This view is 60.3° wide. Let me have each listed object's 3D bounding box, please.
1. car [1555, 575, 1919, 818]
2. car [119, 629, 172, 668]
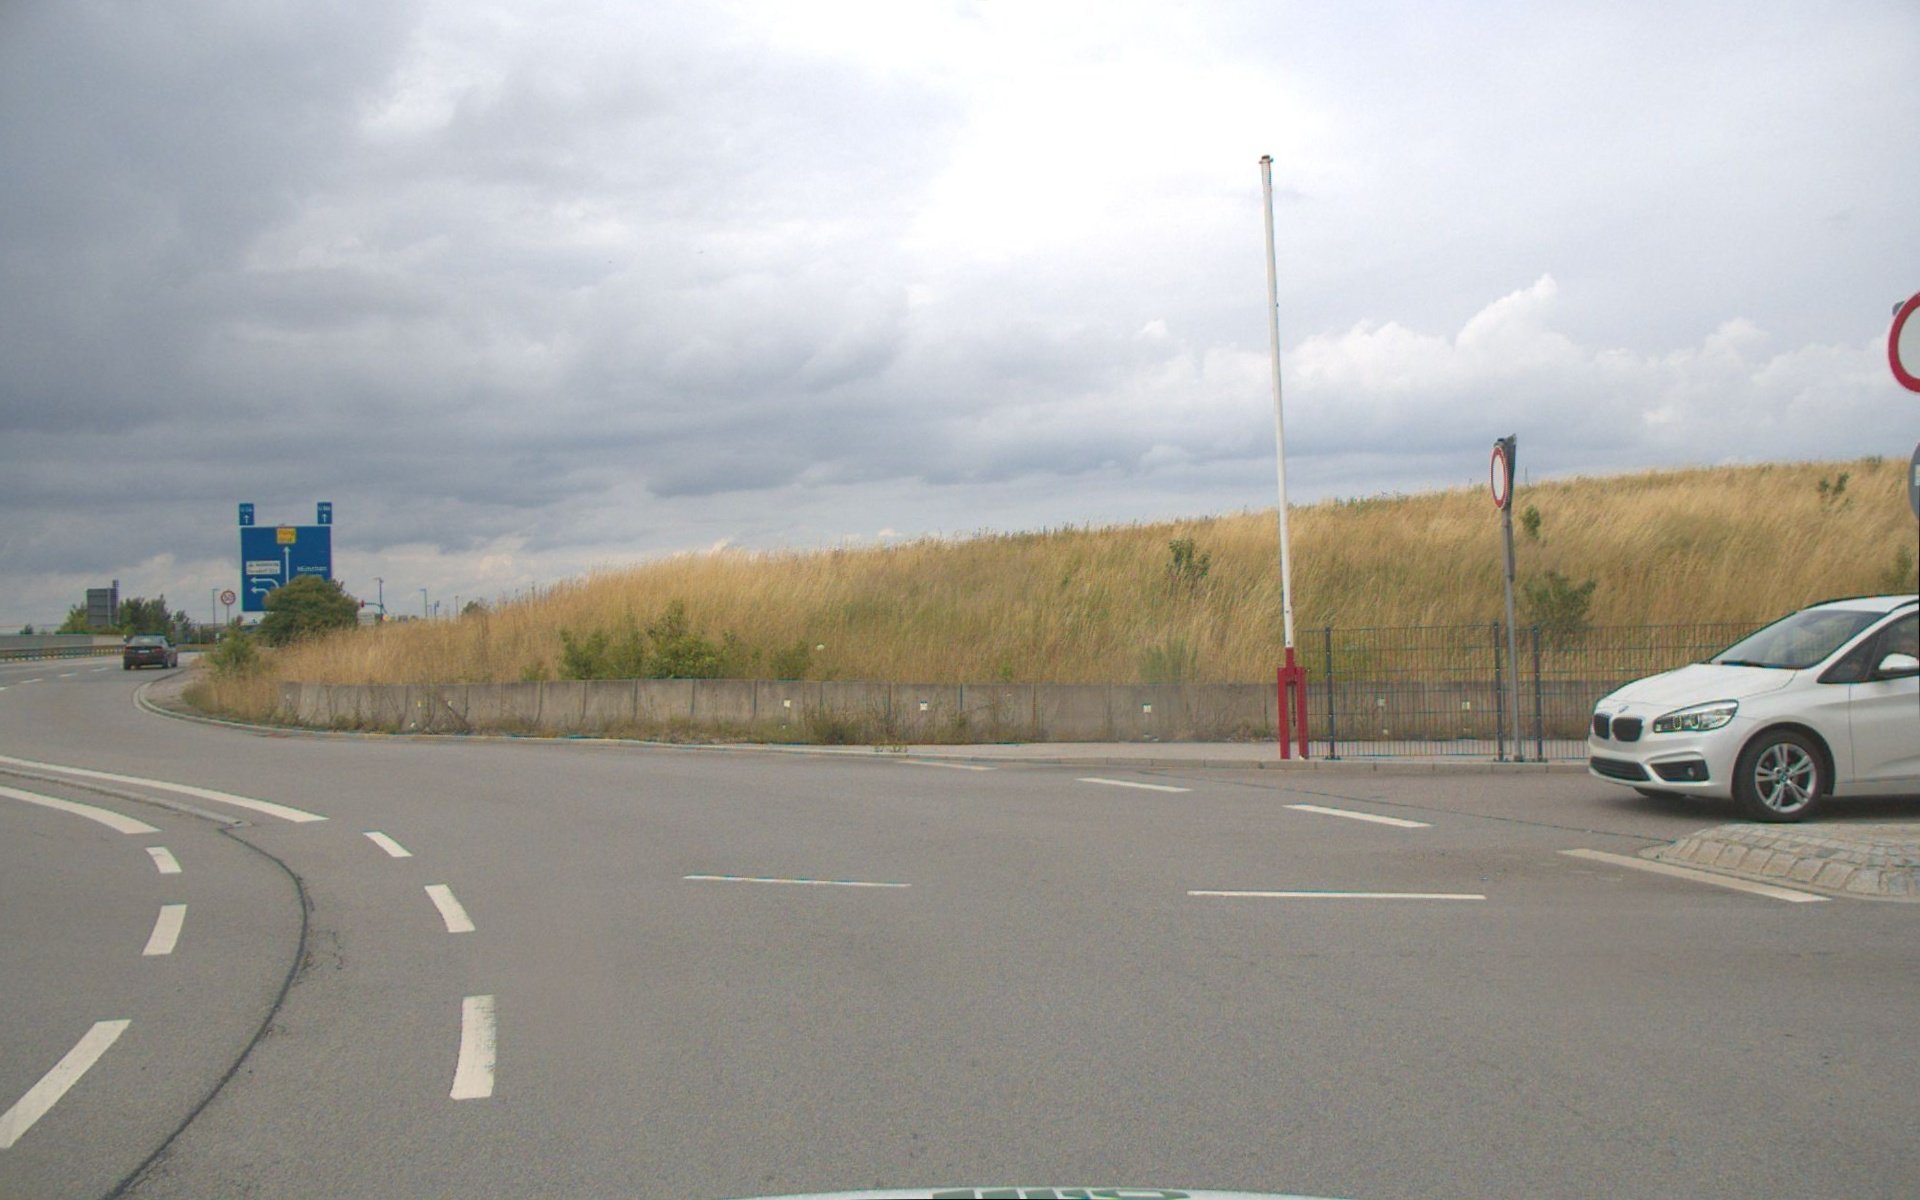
[{"bbox_3d":[6.958,0.664,12.430,4.326,1.657,1.782,0,-1,-5],"label":"car"},{"bbox_3d":[-33.578,2.016,68.221,1.495,1.511,3.594,-1,-1,-19],"label":"car"}]
